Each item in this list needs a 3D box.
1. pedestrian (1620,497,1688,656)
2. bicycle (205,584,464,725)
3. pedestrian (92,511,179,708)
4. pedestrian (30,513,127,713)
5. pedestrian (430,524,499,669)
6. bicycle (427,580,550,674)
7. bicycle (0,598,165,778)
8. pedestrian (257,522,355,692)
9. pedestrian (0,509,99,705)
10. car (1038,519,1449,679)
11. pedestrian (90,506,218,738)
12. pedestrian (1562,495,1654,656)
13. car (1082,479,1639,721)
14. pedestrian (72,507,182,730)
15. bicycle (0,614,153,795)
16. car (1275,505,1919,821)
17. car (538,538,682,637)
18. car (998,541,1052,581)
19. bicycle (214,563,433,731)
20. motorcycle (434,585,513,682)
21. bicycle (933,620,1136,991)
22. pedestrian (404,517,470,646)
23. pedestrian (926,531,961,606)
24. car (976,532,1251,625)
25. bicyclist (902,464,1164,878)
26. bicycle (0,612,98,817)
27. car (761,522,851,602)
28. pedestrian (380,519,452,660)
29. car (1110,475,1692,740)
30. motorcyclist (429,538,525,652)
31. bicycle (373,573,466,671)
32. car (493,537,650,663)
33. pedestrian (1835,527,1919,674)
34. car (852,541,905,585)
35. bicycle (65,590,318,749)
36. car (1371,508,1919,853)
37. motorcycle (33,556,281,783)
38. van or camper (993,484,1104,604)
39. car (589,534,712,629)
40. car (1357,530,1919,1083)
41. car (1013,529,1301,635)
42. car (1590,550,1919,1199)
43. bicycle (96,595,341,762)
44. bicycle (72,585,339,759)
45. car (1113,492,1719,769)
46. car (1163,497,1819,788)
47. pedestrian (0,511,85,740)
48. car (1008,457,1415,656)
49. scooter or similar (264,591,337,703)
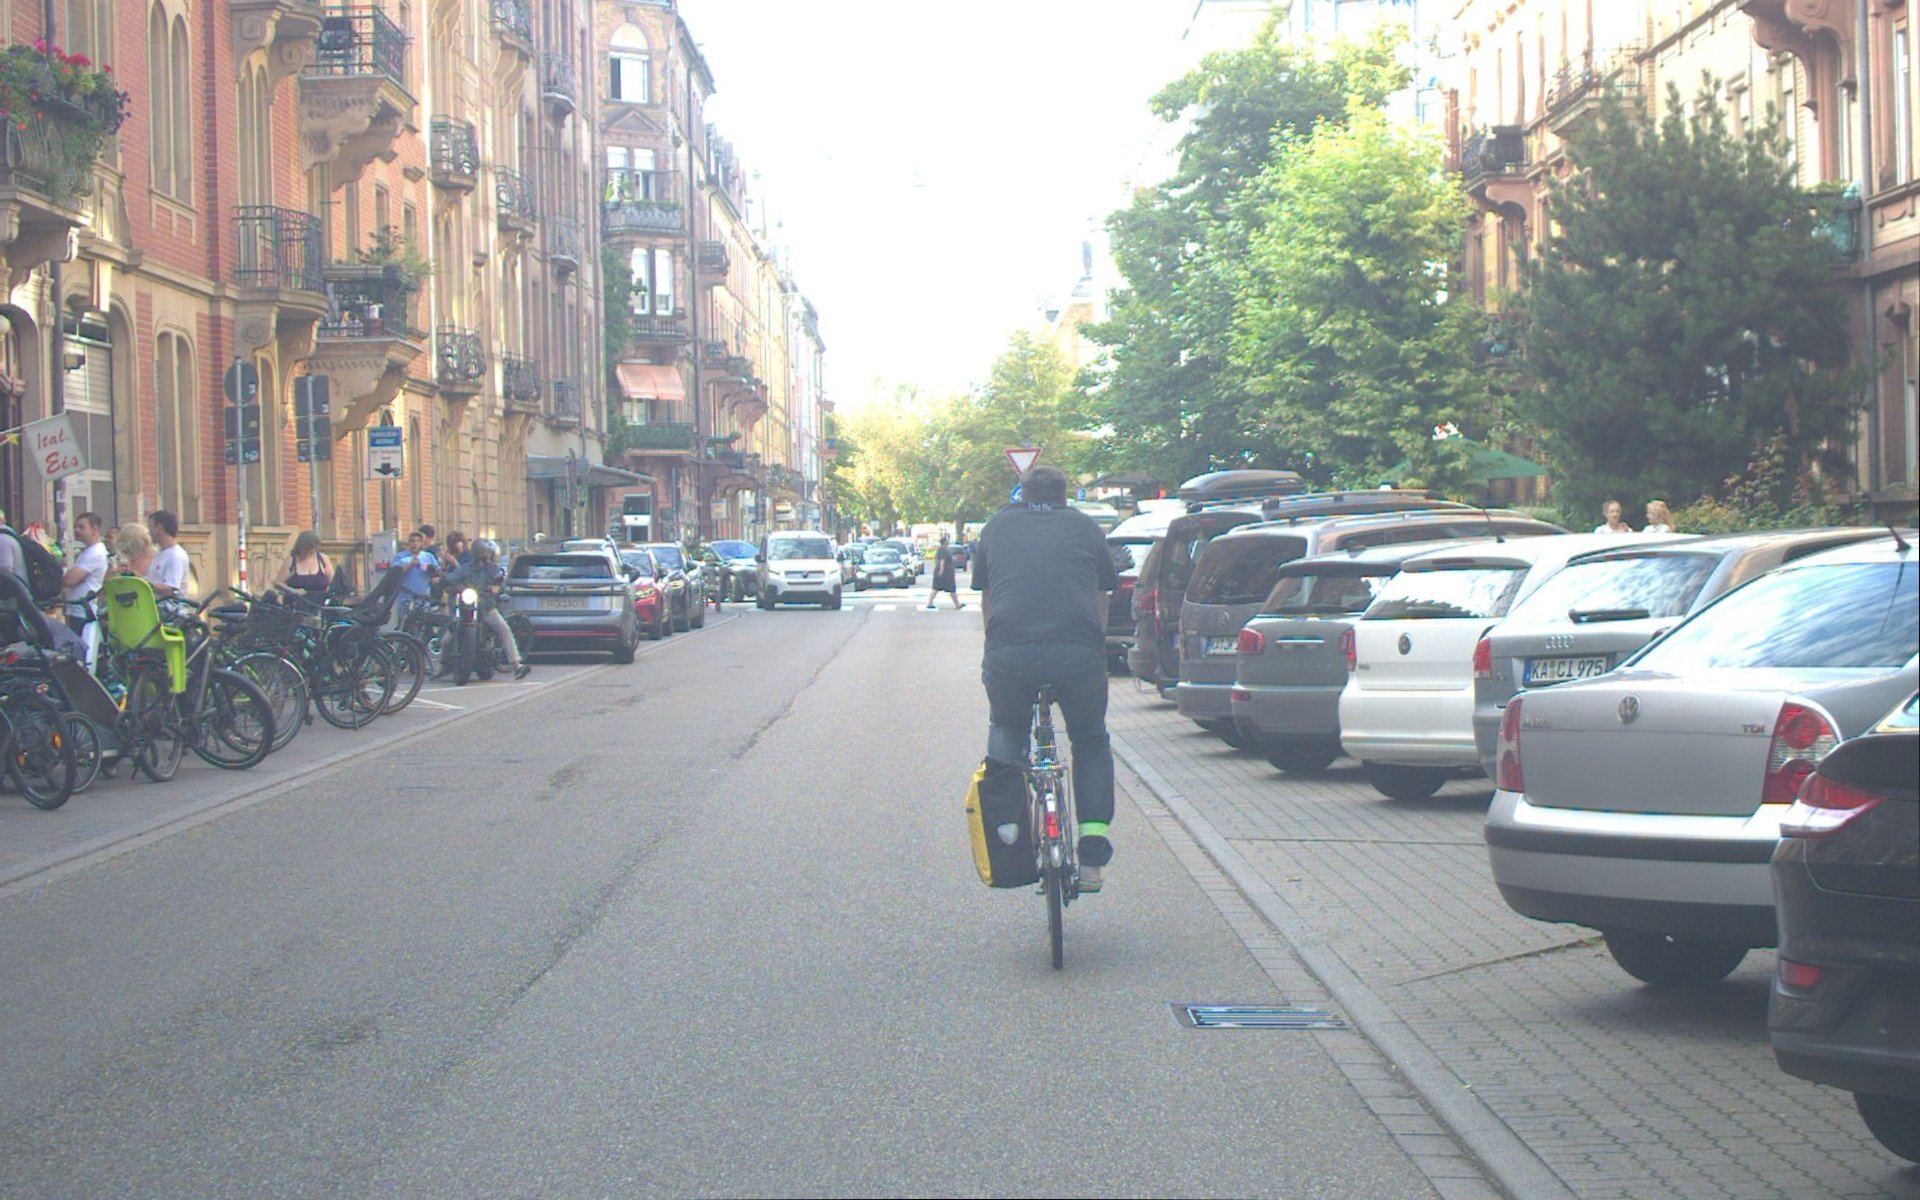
[{"bbox_3d":[7.244,-0.249,35.907,0.573,1.653,0.633,0,1,0],"label":"pedestrian"},{"bbox_3d":[-5.419,0.448,29.919,0.807,1.155,2.265,1,1,37],"label":"bicycle"},{"bbox_3d":[-7.184,0.074,29.938,0.563,1.690,0.647,0,1,-31],"label":"pedestrian"},{"bbox_3d":[-7.545,0.104,29.422,0.663,1.690,0.586,0,1,-31],"label":"pedestrian"},{"bbox_3d":[-5.879,-0.050,40.762,0.564,1.703,0.667,0,1,-35],"label":"pedestrian"},{"bbox_3d":[-5.471,0.308,40.005,0.482,1.055,1.902,1,1,24],"label":"bicycle"},{"bbox_3d":[-5.824,0.549,22.353,0.578,1.086,1.737,1,1,13],"label":"bicycle"},{"bbox_3d":[-6.479,0.062,34.076,0.910,1.655,0.828,0,1,-8],"label":"pedestrian"},{"bbox_3d":[-7.986,0.053,30.161,0.663,1.690,0.763,0,1,0],"label":"pedestrian"},{"bbox_3d":[3.271,-0.062,39.390,4.444,1.726,2.000,-1,2,-35],"label":"car"},{"bbox_3d":[-6.158,0.155,26.304,0.605,1.745,0.945,0,1,12],"label":"pedestrian"},{"bbox_3d":[6.879,-0.263,36.489,0.646,1.689,0.699,0,1,-44],"label":"pedestrian"},{"bbox_3d":[3.509,-0.031,30.668,4.636,1.778,1.810,-4,3,-1],"label":"car"},{"bbox_3d":[-6.590,0.138,27.215,0.605,1.745,0.725,0,1,10],"label":"pedestrian"},{"bbox_3d":[-5.605,0.601,20.317,1.683,1.027,0.409,1,1,20],"label":"bicycle"},{"bbox_3d":[3.953,0.301,19.498,3.988,1.446,1.736,-5,1,-32],"label":"car"},{"bbox_3d":[-5.757,-0.223,56.996,1.993,1.539,4.427,-1,1,-1],"label":"car"},{"bbox_3d":[2.491,-1.518,132.509,1.993,1.481,4.000,-2,1,1],"label":"car"},{"bbox_3d":[-5.134,0.367,27.761,1.672,1.317,0.527,0,1,-36],"label":"bicycle"},{"bbox_3d":[-5.312,0.350,37.620,0.793,0.992,2.500,0,1,-7],"label":"motorcycle"},{"bbox_3d":[0.236,0.687,12.620,0.665,1.174,2.497,0,1,0],"label":"bicycle"},{"bbox_3d":[-7.386,-0.270,48.599,0.756,1.802,0.863,0,1,3],"label":"pedestrian"},{"bbox_3d":[-0.384,-0.731,80.514,0.629,1.733,0.775,-1,1,12],"label":"pedestrian"},{"bbox_3d":[2.916,-0.432,64.969,4.753,1.452,2.057,-4,3,-28],"label":"car"},{"bbox_3d":[0.257,0.248,12.679,0.933,1.478,0.747,0,1,0],"label":"bicyclist"},{"bbox_3d":[-5.540,0.626,19.518,1.580,1.113,0.373,1,1,39],"label":"bicycle"},{"bbox_3d":[-3.595,-0.900,80.886,1.917,1.822,4.438,0,1,0],"label":"car"},{"bbox_3d":[-6.470,-0.131,40.892,0.679,1.655,0.551,0,1,-30],"label":"pedestrian"},{"bbox_3d":[3.545,0.030,27.384,4.390,1.816,1.755,-4,1,-32],"label":"car"},{"bbox_3d":[-5.283,-0.058,37.648,1.013,1.241,0.803,0,1,-6],"label":"motorcyclist"},{"bbox_3d":[-6.226,0.245,39.686,0.493,1.091,1.904,1,1,9],"label":"bicycle"},{"bbox_3d":[-5.105,-0.040,45.709,1.825,1.573,5.264,0,1,-4],"label":"car"},{"bbox_3d":[7.917,-0.001,29.445,0.600,1.215,0.673,-4,1,0],"label":"pedestrian"},{"bbox_3d":[-2.754,-1.229,115.524,1.750,1.431,4.212,0,0,-2],"label":"car"},{"bbox_3d":[-5.634,0.495,25.237,1.733,1.117,0.555,0,1,-36],"label":"bicycle"},{"bbox_3d":[4.199,0.312,17.074,3.988,1.456,1.887,-4,0,-36],"label":"car"},{"bbox_3d":[-5.137,0.411,22.131,0.707,1.379,2.022,1,1,14],"label":"motorcycle"},{"bbox_3d":[2.282,-1.470,90.039,2.531,3.027,4.459,-1,1,-2],"label":"van or camper"},{"bbox_3d":[-5.595,-0.346,62.575,1.790,1.623,4.847,-1,1,0],"label":"car"},{"bbox_3d":[3.715,0.484,11.399,4.597,1.446,1.793,-4,2,-32],"label":"car"},{"bbox_3d":[3.262,-0.324,56.546,4.455,1.459,1.879,-4,3,-34],"label":"car"},{"bbox_3d":[3.609,0.569,7.976,4.125,1.413,1.869,-2,2,-36],"label":"car"},{"bbox_3d":[-5.176,0.531,24.034,1.565,1.117,0.591,0,1,-36],"label":"bicycle"},{"bbox_3d":[-5.398,0.496,24.649,1.785,1.196,0.591,0,1,-36],"label":"bicycle"},{"bbox_3d":[3.304,0.175,24.738,3.987,1.735,1.840,-3,1,-31],"label":"car"},{"bbox_3d":[3.468,0.223,22.161,3.988,1.543,1.868,-4,2,-37],"label":"car"},{"bbox_3d":[-7.656,0.197,28.205,0.761,1.847,0.666,0,1,-31],"label":"pedestrian"},{"bbox_3d":[3.340,-0.596,45.109,5.144,2.397,1.918,-3,1,-33],"label":"car"},{"bbox_3d":[-6.386,0.451,33.321,0.605,1.051,0.922,0,1,-5],"label":"scooter or similar"}]
